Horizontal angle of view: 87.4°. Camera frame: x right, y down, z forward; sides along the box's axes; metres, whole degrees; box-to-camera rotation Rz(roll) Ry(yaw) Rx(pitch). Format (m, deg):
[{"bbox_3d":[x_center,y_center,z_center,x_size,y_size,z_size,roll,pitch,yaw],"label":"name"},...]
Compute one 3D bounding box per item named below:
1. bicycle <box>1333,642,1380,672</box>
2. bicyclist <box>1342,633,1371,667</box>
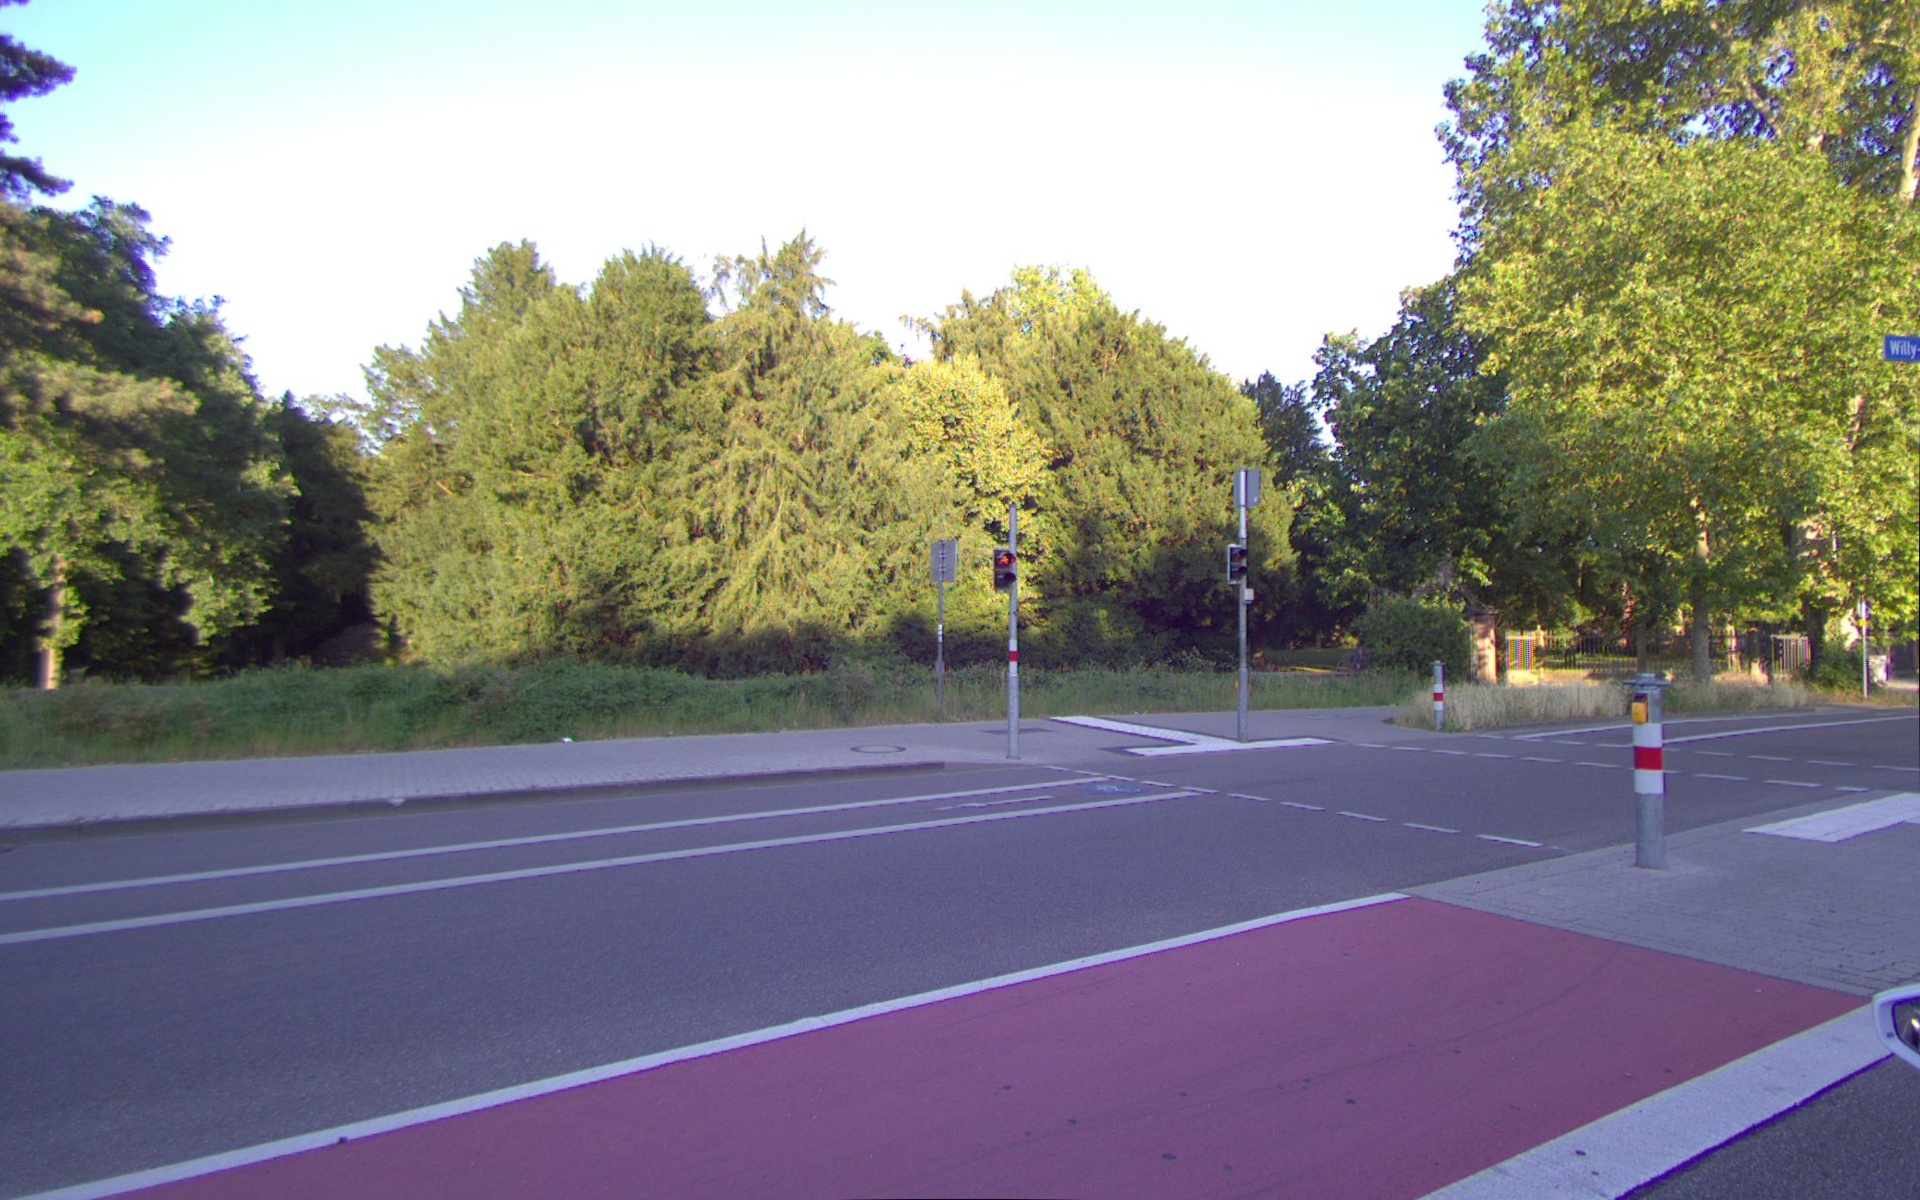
[{"bbox_3d":[17.038,2.439,43.176,0.779,1.273,1.972,1,-2,-19],"label":"bicycle"},{"bbox_3d":[17.034,2.126,43.186,0.780,1.445,0.888,1,-2,-21],"label":"bicyclist"}]
